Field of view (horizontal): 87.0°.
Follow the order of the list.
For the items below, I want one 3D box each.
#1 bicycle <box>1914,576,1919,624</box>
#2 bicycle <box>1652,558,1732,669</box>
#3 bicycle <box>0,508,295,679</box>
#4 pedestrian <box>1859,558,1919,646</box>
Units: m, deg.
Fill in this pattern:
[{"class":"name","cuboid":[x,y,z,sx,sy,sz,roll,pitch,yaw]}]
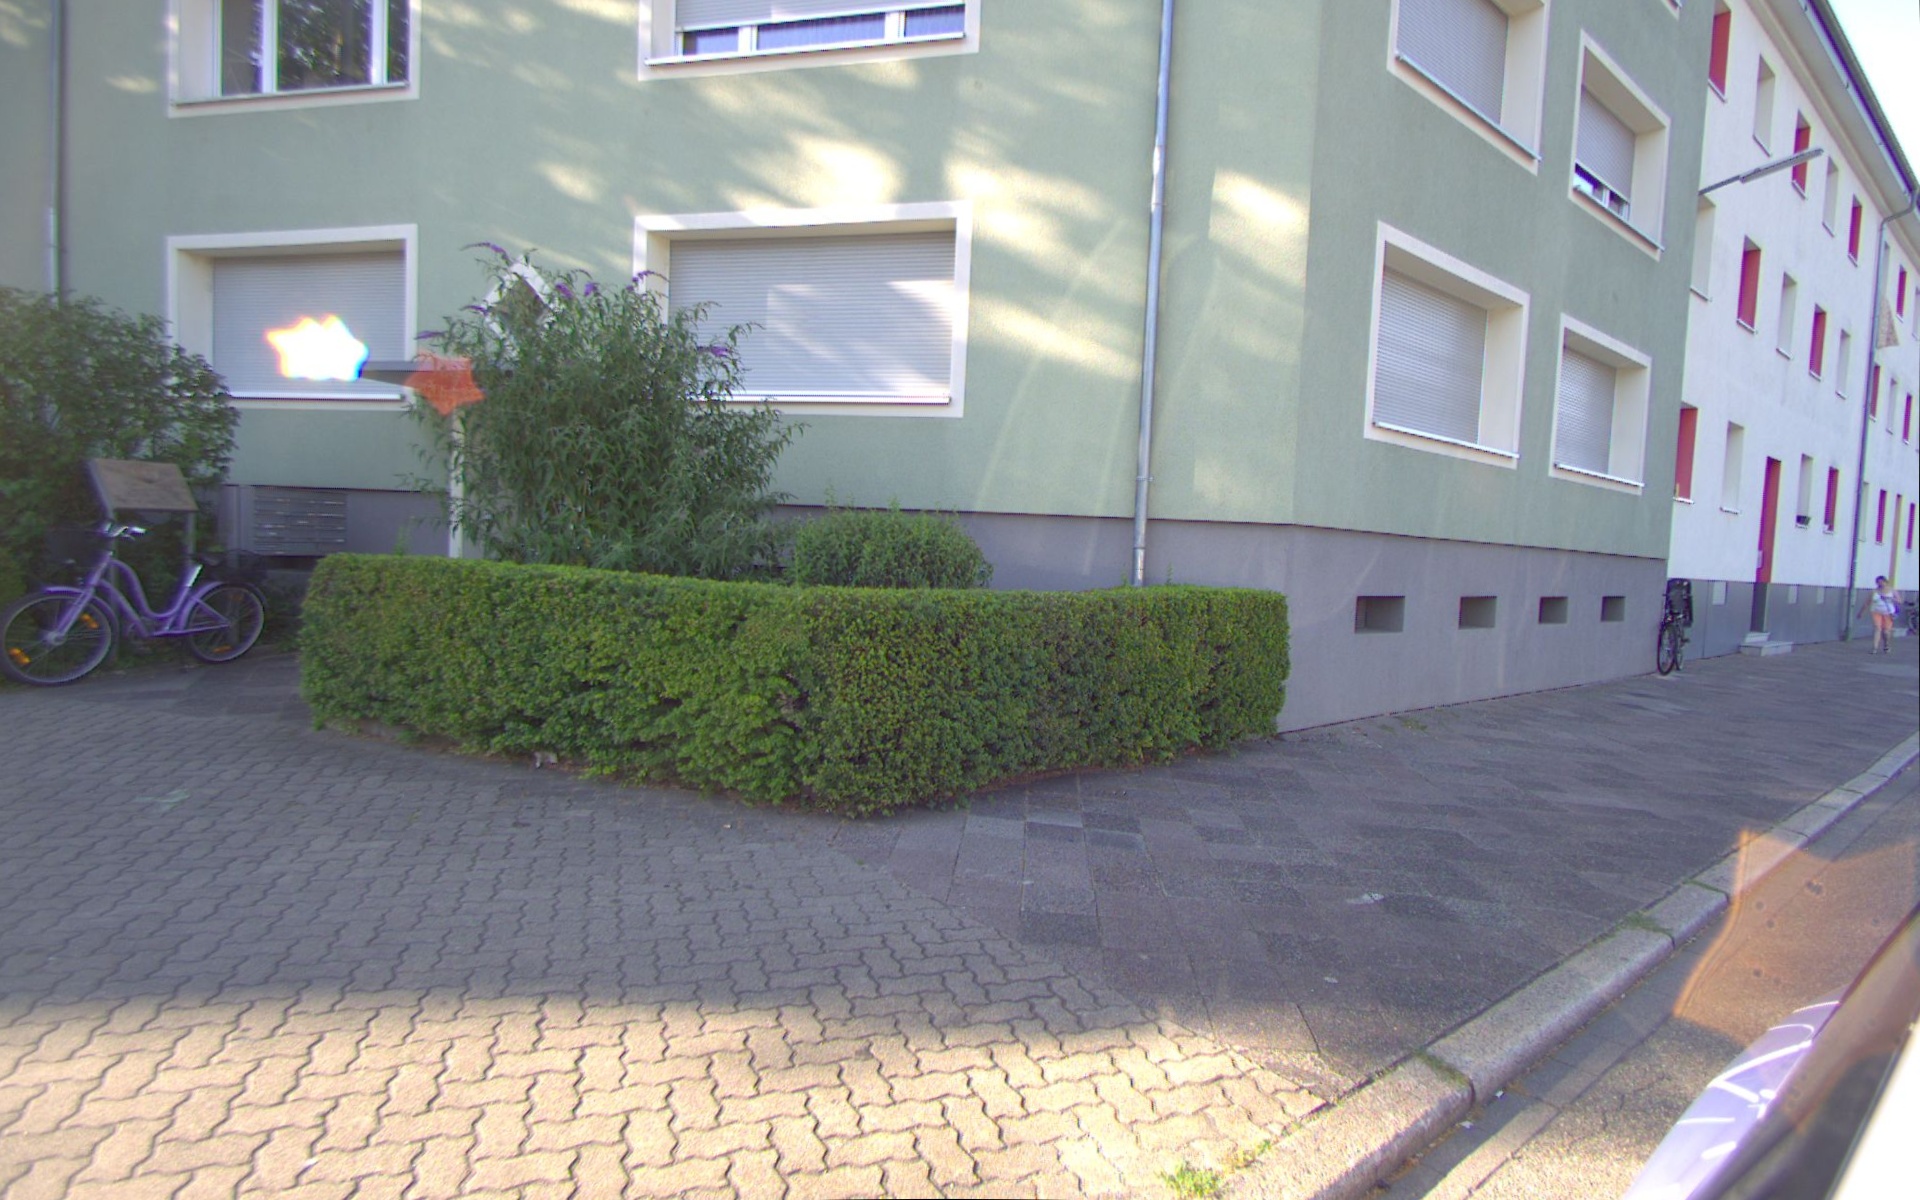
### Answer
[{"class":"bicycle","cuboid":[29.433,0.006,30.738,1.843,1.429,0.517,-1,4,-44]},{"class":"bicycle","cuboid":[10.135,0.157,13.989,1.843,1.429,0.517,-1,4,-44]},{"class":"bicycle","cuboid":[-5.907,-0.087,7.287,0.515,1.069,1.920,3,3,22]},{"class":"pedestrian","cuboid":[19.302,0.032,20.959,0.933,1.727,0.787,0,4,-41]}]
